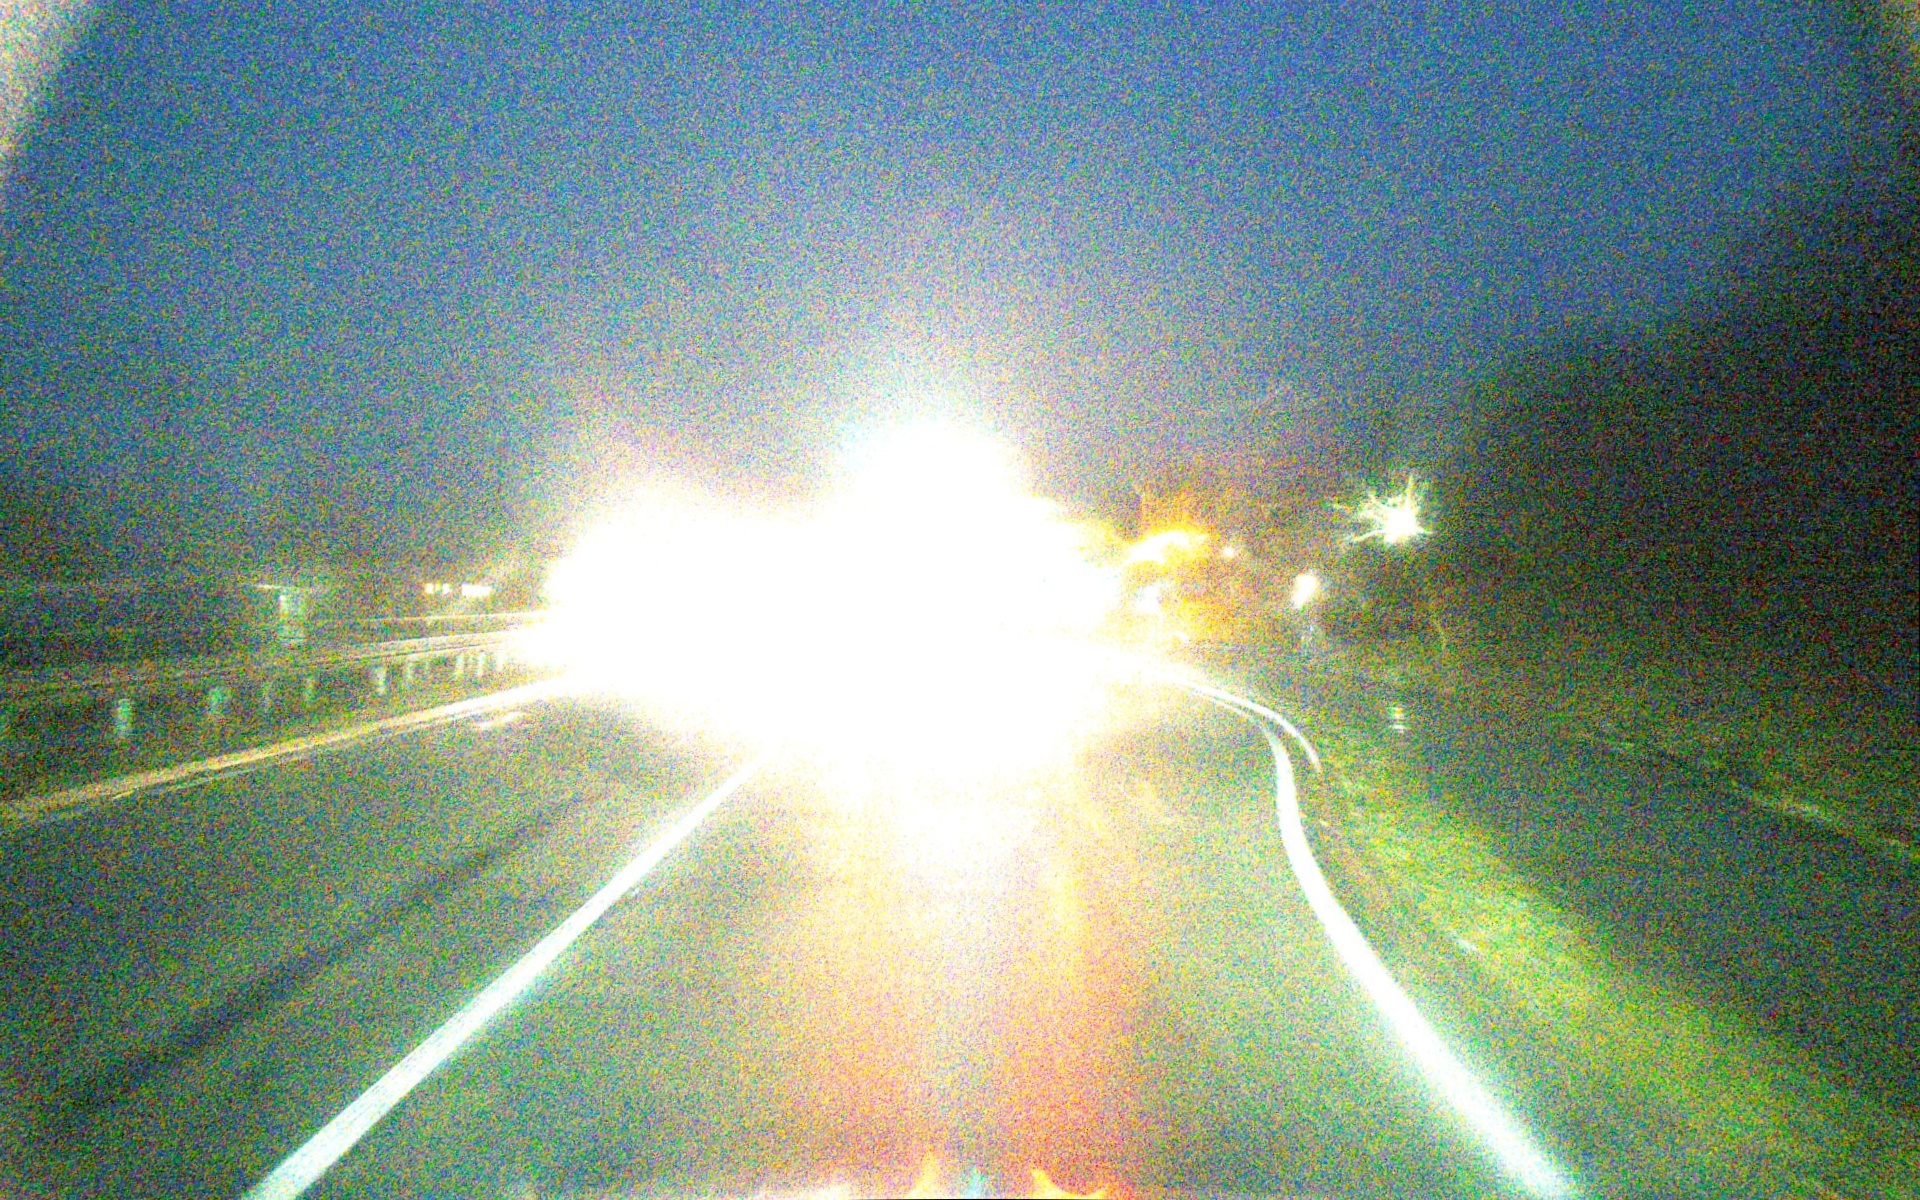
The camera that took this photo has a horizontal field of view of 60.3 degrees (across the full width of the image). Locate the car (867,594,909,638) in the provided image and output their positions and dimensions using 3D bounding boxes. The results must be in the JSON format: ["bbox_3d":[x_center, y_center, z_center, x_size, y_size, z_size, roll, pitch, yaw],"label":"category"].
[{"bbox_3d":[-3.668,0.831,84.147,1.955,2.049,3.995,0,-3,-5],"label":"car"}]

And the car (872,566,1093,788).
[{"bbox_3d":[0.116,0.630,15.148,1.739,1.742,3.998,1,0,-2],"label":"car"}]
